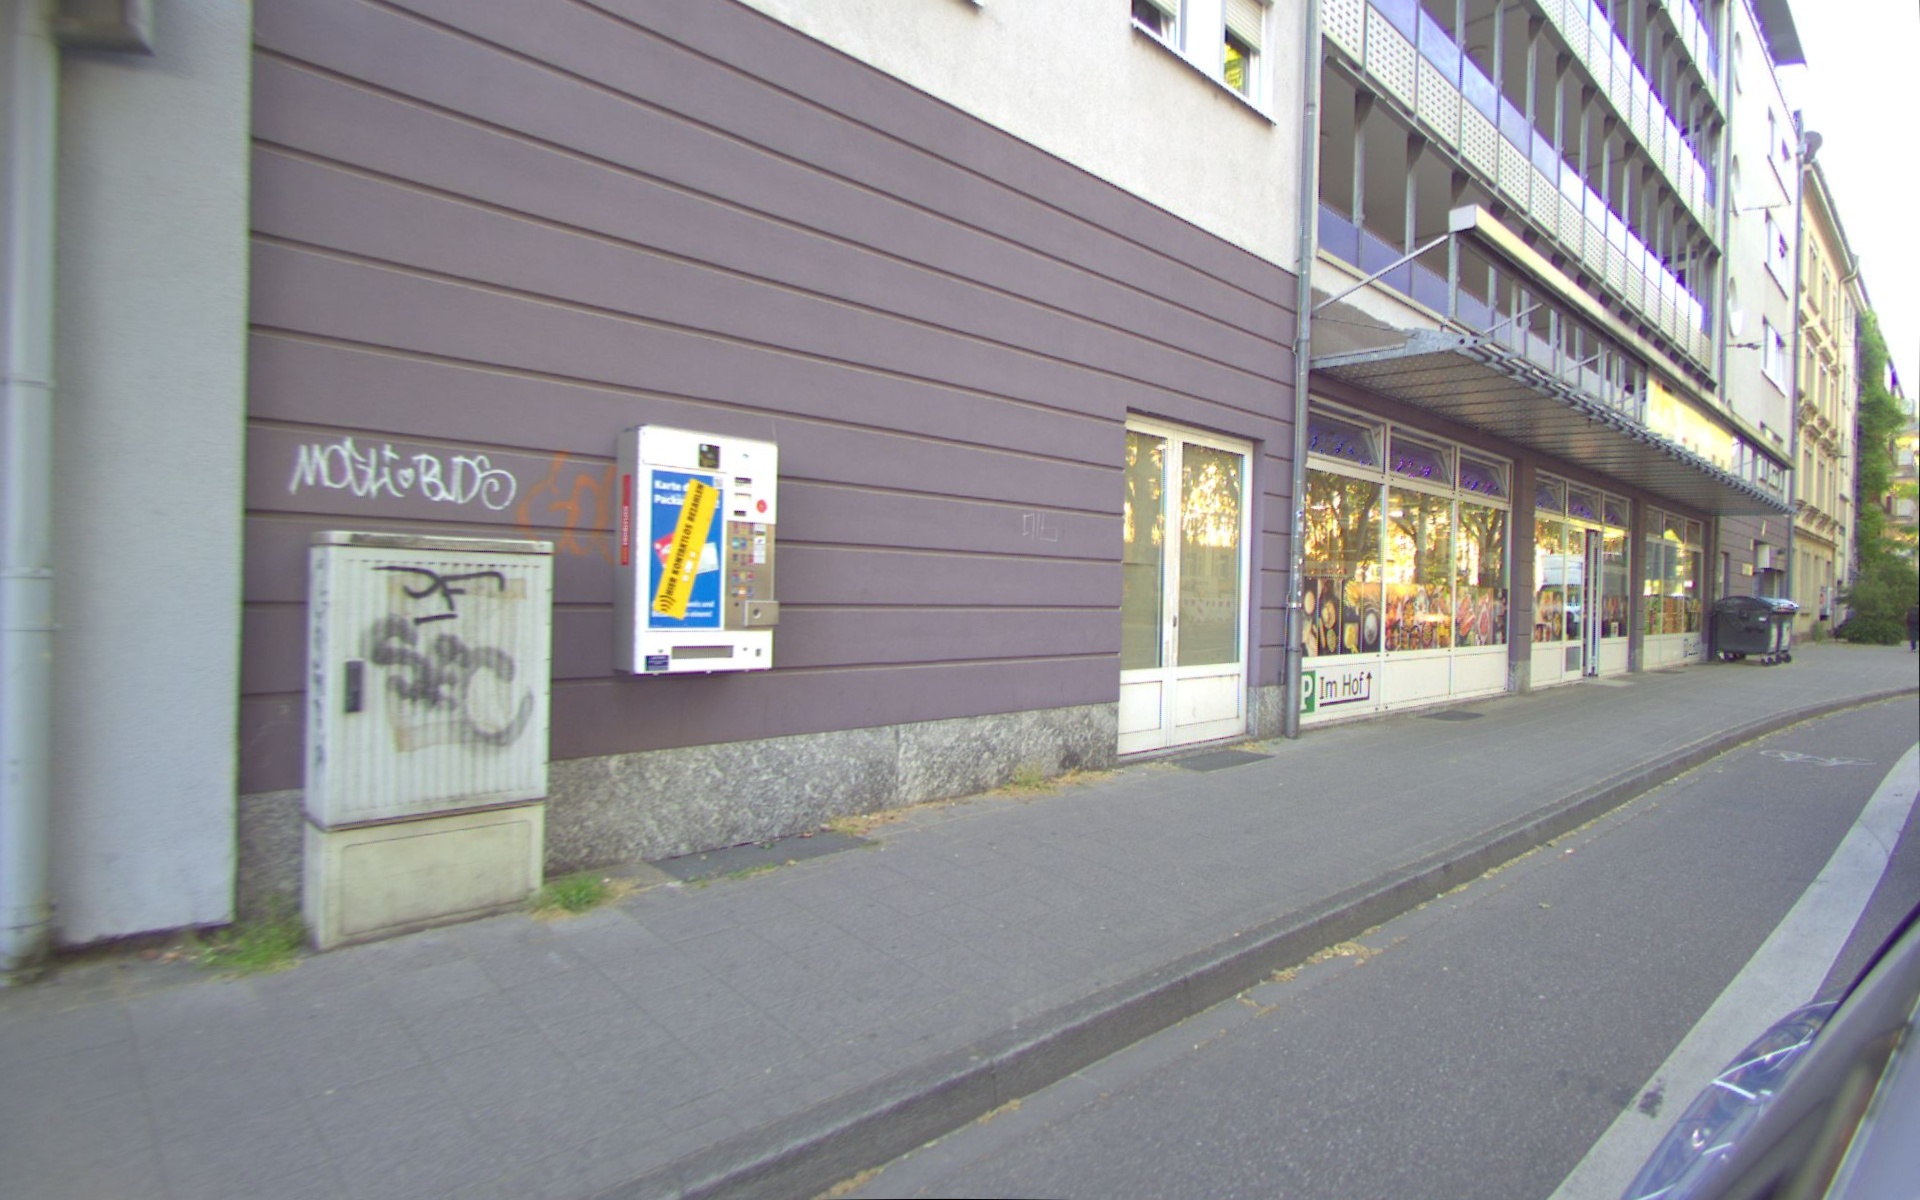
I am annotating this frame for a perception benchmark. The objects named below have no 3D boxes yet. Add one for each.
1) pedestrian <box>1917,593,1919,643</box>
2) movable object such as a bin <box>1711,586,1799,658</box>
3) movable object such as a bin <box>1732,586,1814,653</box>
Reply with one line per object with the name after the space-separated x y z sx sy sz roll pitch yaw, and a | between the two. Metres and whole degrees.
28.810 0.540 30.020 0.619 1.463 0.540 1 1 -41 | pedestrian
16.818 0.439 21.409 1.348 1.427 1.203 0 1 -41 | movable object such as a bin
18.264 0.414 22.741 1.348 1.427 1.203 0 1 -41 | movable object such as a bin
